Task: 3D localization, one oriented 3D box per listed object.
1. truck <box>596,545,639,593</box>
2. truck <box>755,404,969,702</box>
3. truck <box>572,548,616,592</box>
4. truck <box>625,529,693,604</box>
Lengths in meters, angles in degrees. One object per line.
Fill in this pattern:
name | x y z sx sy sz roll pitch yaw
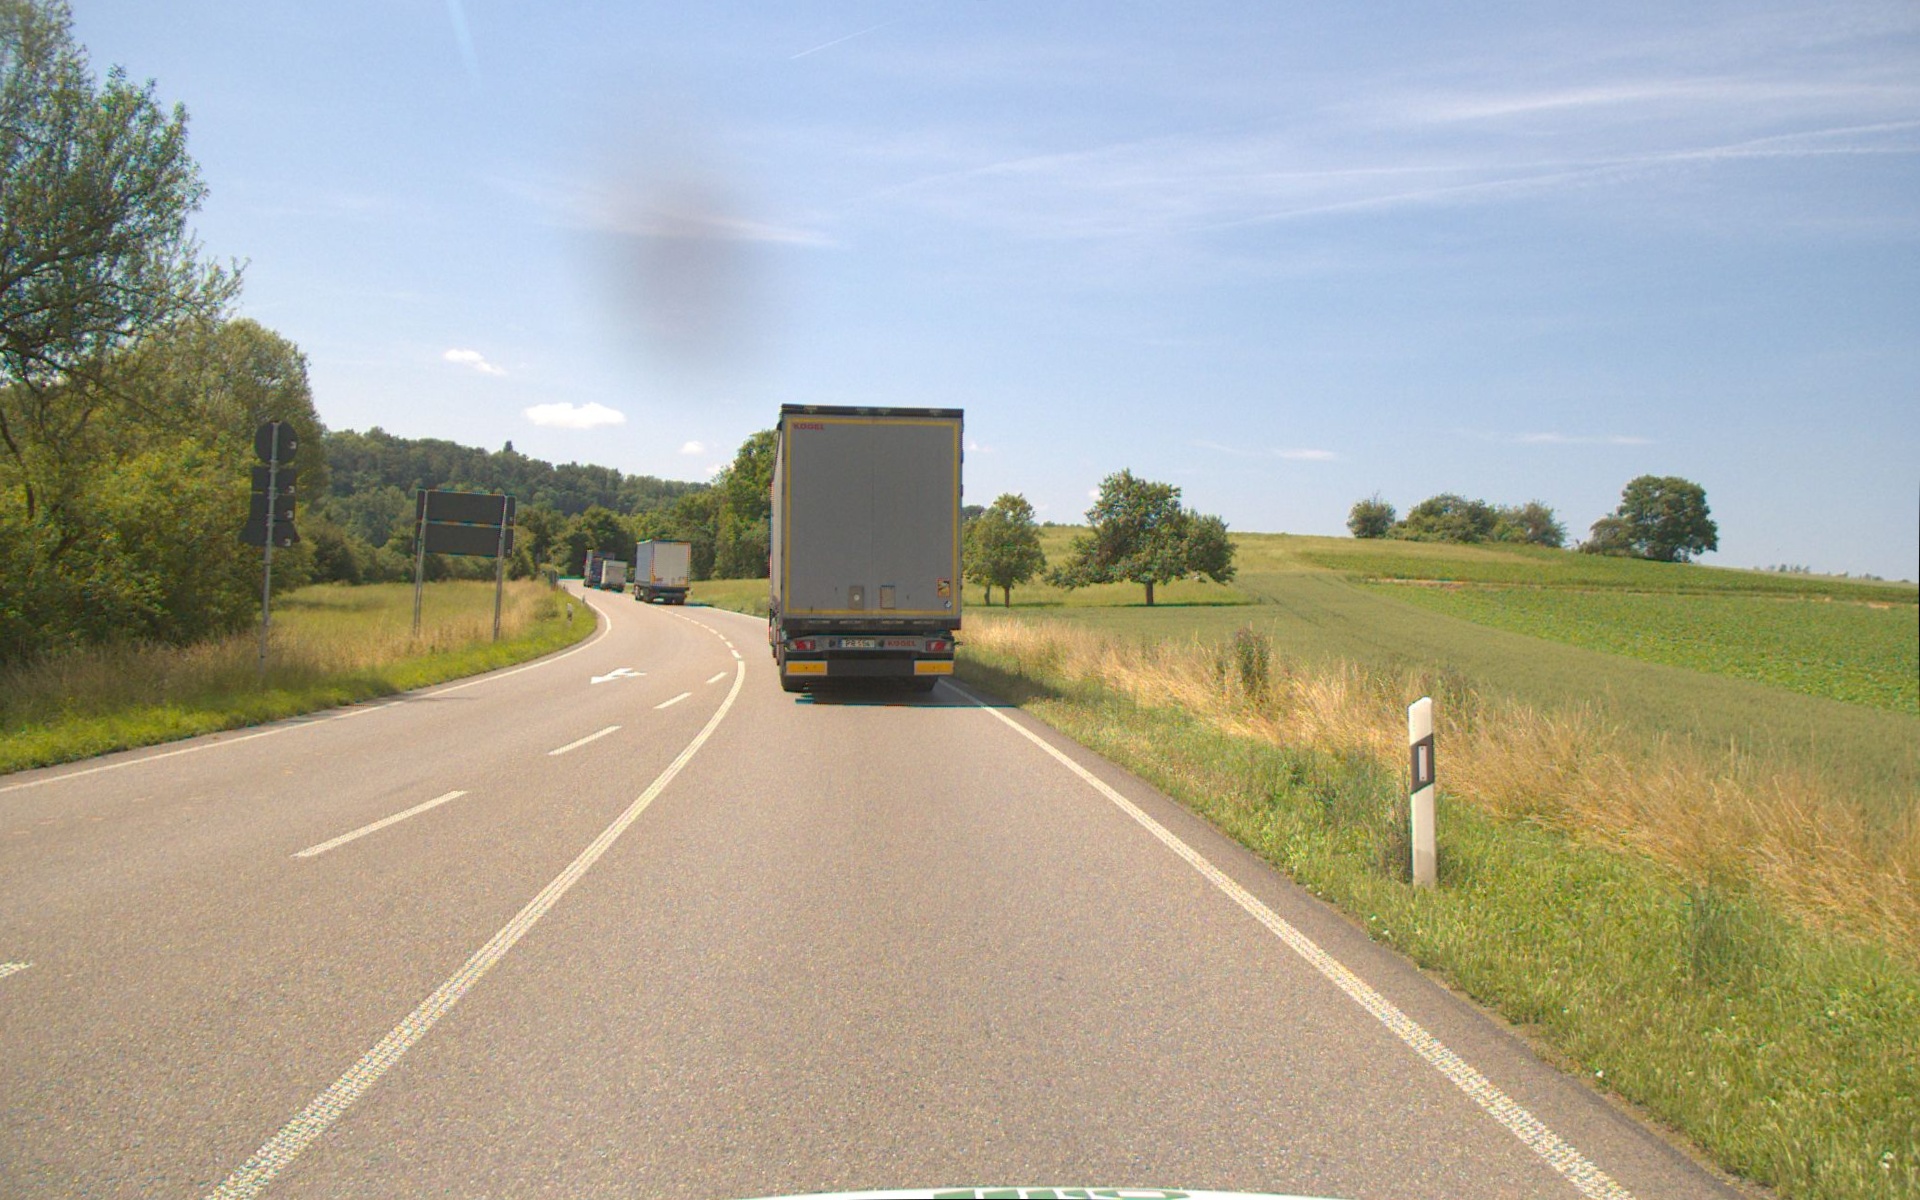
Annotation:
truck | -35.105 -3.085 169.235 3.576 4.201 13.047 3 -2 -14
truck | -1.908 -0.633 27.214 2.755 4.015 9.573 1 0 -8
truck | -41.367 -3.308 186.677 3.474 4.315 13.336 3 -2 -18
truck | -20.691 -2.189 112.778 2.913 4.664 16.246 2 0 -16
